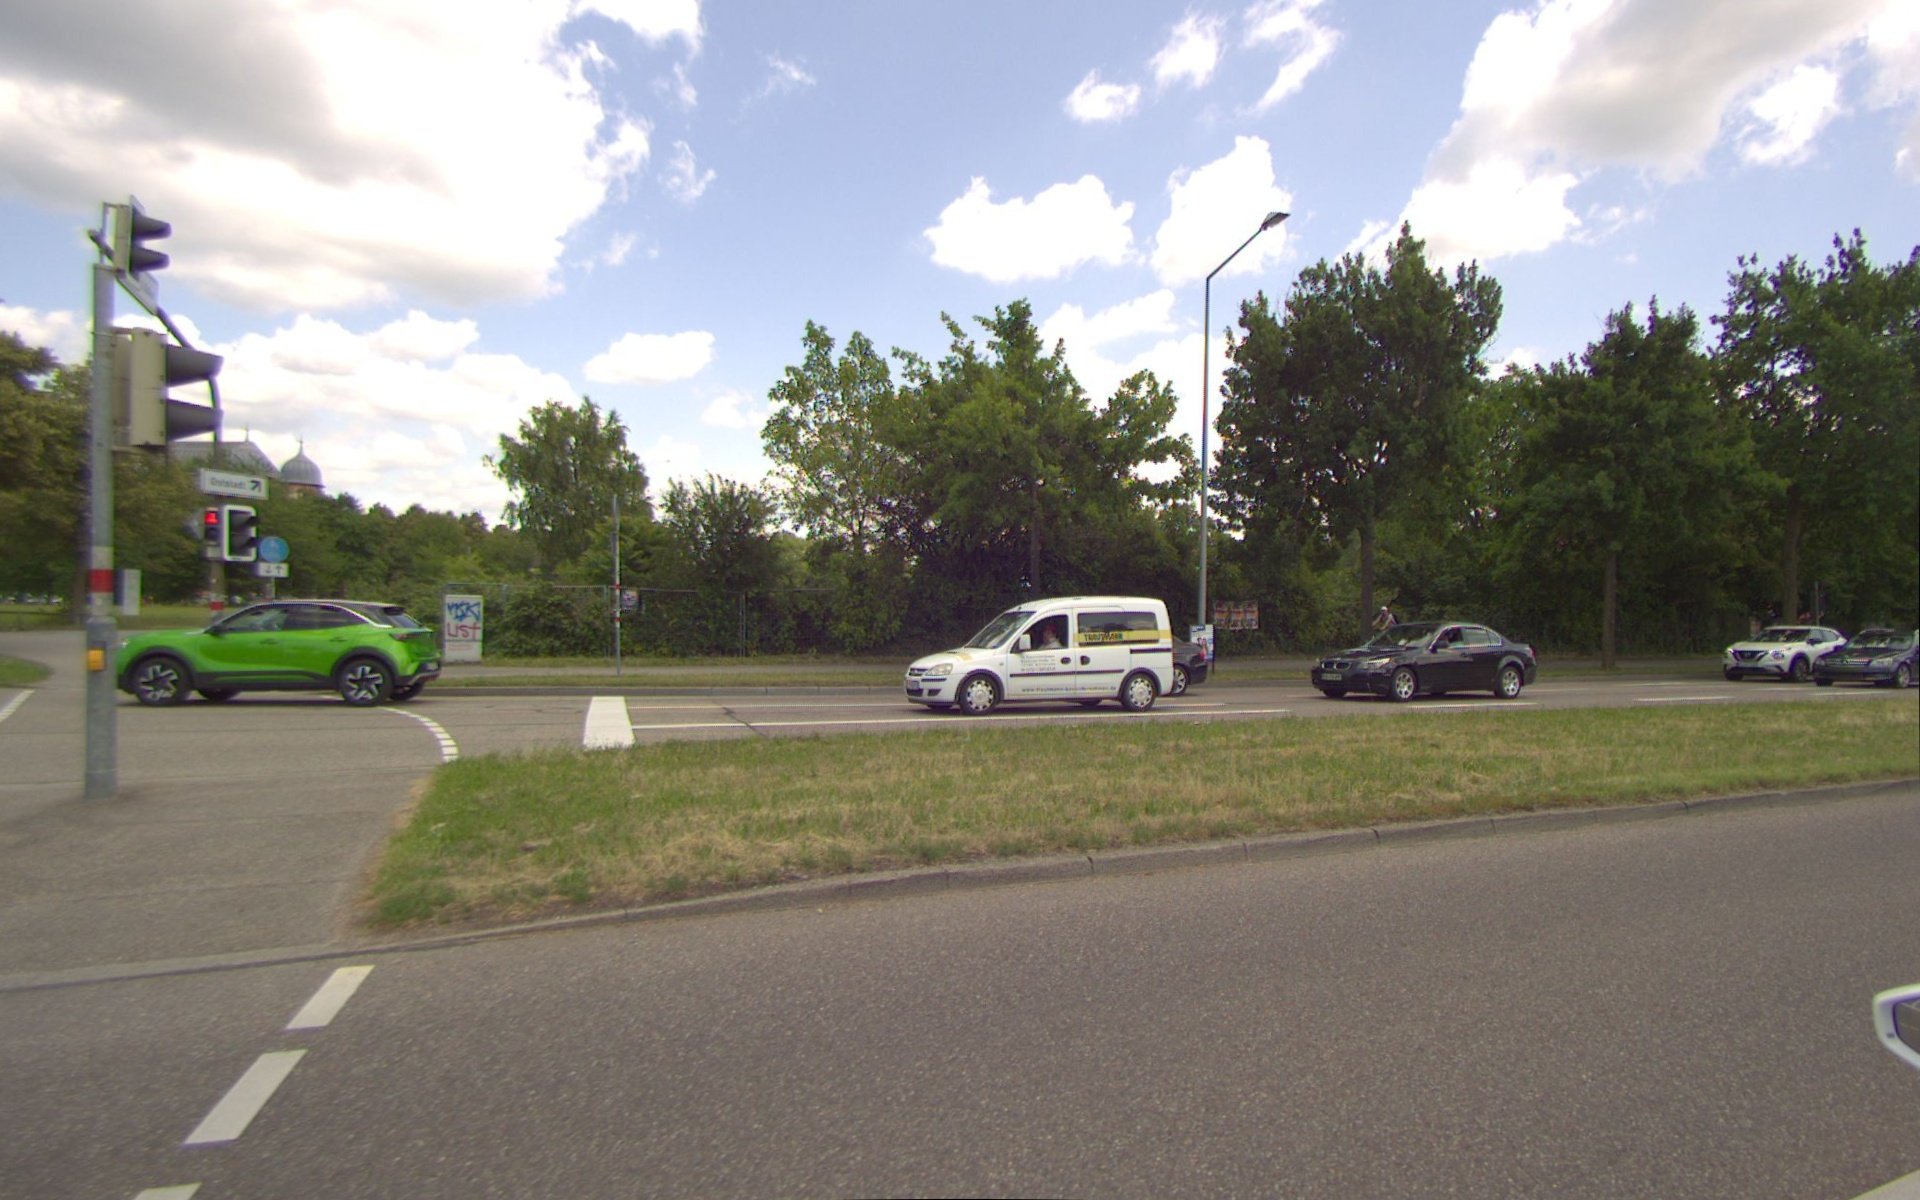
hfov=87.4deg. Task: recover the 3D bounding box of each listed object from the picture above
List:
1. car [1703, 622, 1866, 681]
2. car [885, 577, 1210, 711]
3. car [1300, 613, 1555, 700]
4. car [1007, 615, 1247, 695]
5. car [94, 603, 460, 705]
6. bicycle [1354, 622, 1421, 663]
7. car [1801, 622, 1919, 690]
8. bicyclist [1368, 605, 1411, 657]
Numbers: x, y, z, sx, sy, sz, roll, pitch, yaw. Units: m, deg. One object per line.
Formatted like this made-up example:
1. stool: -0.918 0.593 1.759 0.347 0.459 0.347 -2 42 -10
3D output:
1. car: 23.519 1.442 28.642 4.307 1.561 1.905 1 -1 -24
2. car: 1.373 0.684 15.455 4.721 1.823 1.833 1 -2 -24
3. car: 8.972 1.067 19.271 4.687 1.499 1.833 1 -2 -24
4. car: 3.280 1.076 19.821 4.352 1.462 1.836 1 -2 -20
5. car: -9.824 0.789 14.807 4.102 1.366 1.616 1 -2 -16
6. bicycle: 13.504 1.345 31.709 1.989 1.235 0.758 1 2 -24
7. car: 23.896 1.384 25.686 4.943 1.612 1.718 1 -1 -24
8. bicyclist: 13.549 0.977 31.706 0.871 1.586 0.827 1 2 -24
